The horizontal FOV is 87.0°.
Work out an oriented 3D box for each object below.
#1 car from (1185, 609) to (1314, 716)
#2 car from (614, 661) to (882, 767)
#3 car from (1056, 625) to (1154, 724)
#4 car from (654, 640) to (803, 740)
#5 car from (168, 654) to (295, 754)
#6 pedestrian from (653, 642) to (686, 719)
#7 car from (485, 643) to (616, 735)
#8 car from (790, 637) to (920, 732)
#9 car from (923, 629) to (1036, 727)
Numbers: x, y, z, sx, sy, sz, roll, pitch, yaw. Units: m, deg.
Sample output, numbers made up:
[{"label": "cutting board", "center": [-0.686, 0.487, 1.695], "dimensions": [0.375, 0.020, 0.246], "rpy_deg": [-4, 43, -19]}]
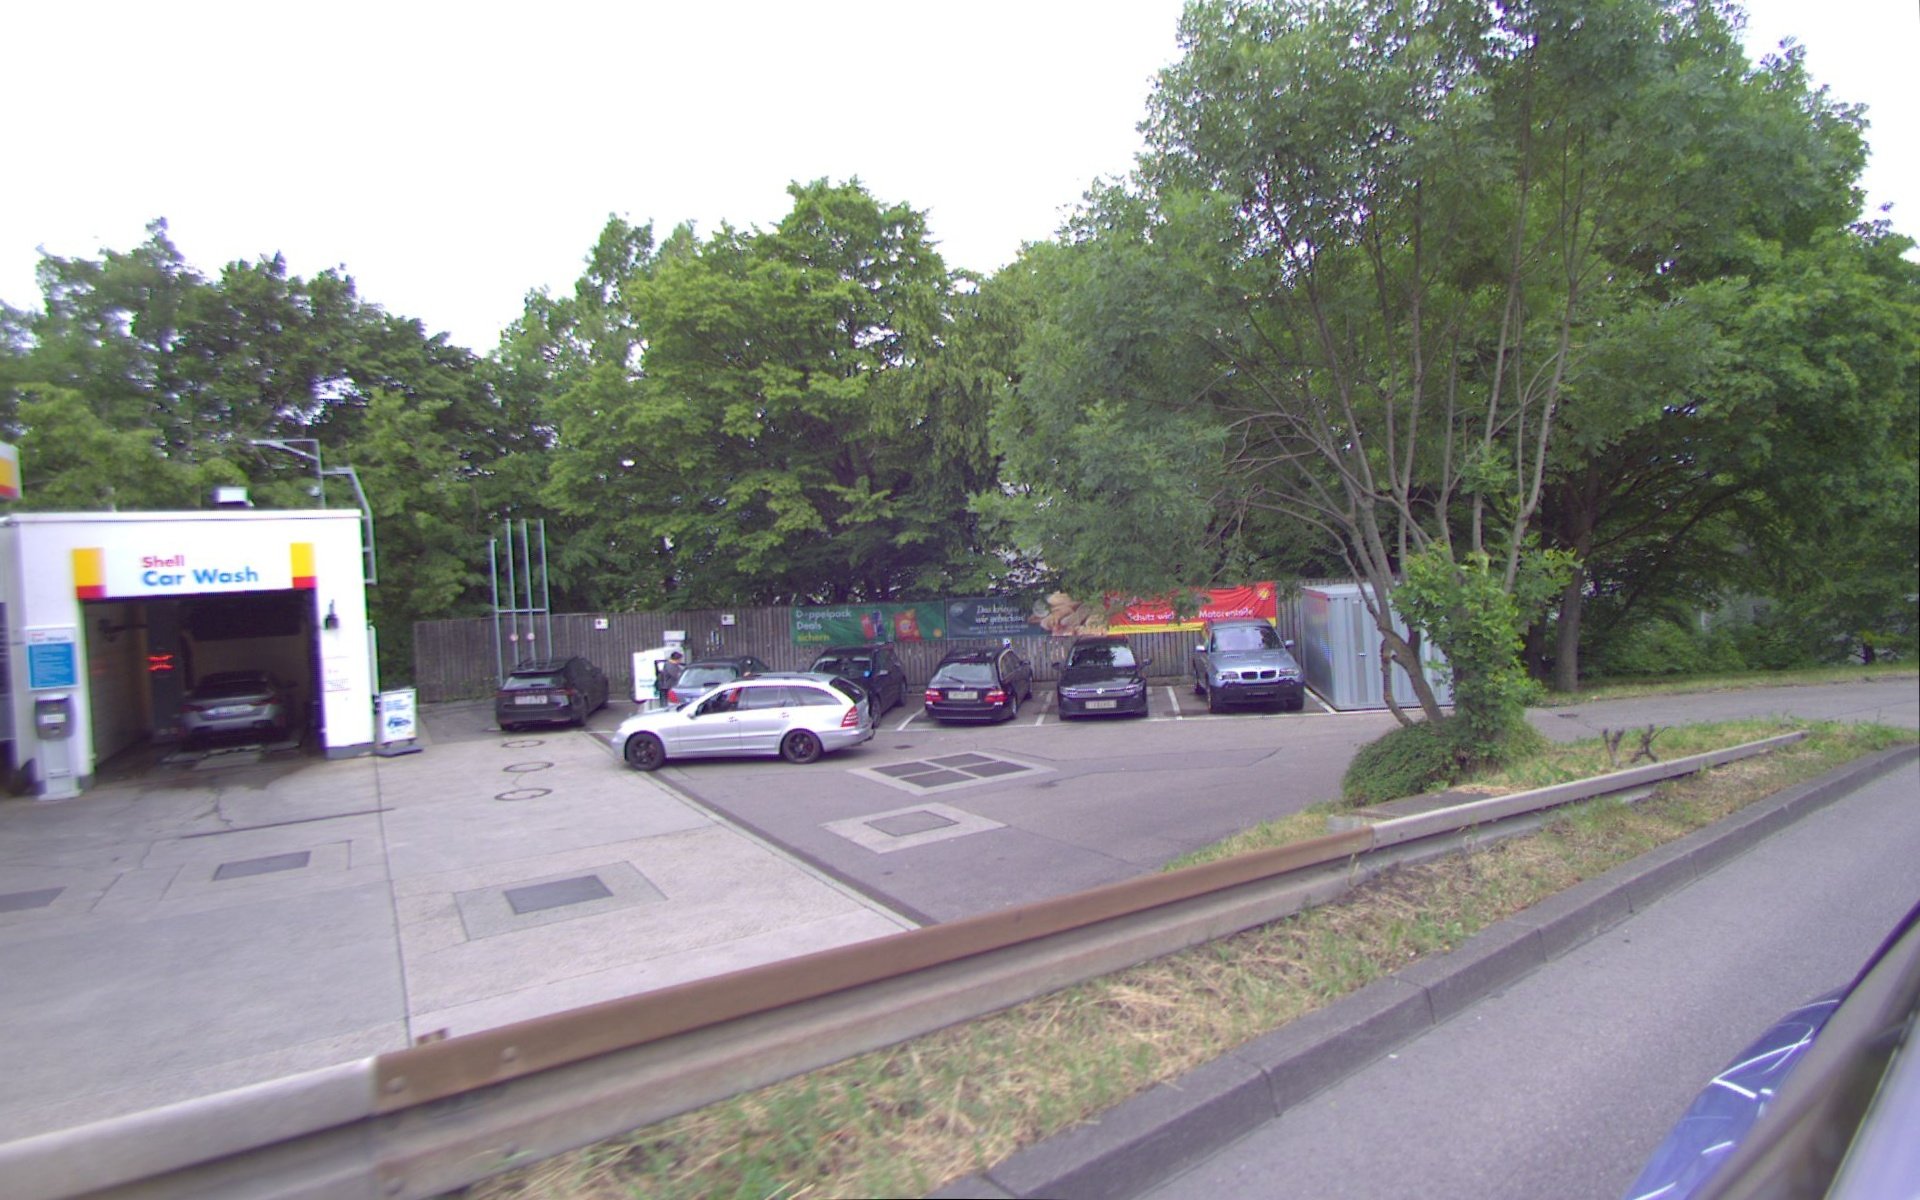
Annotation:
[{"label": "car", "center": [5.766, 1.168, 20.643], "dimensions": [1.705, 1.610, 4.289], "rpy_deg": [-4, 2, 6]}, {"label": "car", "center": [-3.556, 1.933, 17.417], "dimensions": [4.215, 1.449, 1.601], "rpy_deg": [-2, 2, 3]}, {"label": "car", "center": [2.981, 1.439, 20.854], "dimensions": [1.706, 1.444, 4.286], "rpy_deg": [-4, 2, 8]}, {"label": "car", "center": [-4.742, 1.807, 21.348], "dimensions": [1.602, 1.538, 4.091], "rpy_deg": [-1, 3, 9]}, {"label": "car", "center": [-15.179, 2.083, 21.266], "dimensions": [1.707, 1.504, 3.882], "rpy_deg": [-4, 3, -30]}, {"label": "pedestrian", "center": [-6.081, 1.677, 21.193], "dimensions": [0.461, 1.559, 0.430], "rpy_deg": [-4, -3, 7]}, {"label": "car", "center": [-9.014, 1.897, 22.620], "dimensions": [1.688, 1.453, 4.113], "rpy_deg": [-2, 3, -7]}, {"label": "car", "center": [-2.120, 1.709, 21.649], "dimensions": [1.707, 1.453, 4.208], "rpy_deg": [-1, 3, 9]}, {"label": "car", "center": [0.522, 1.556, 21.455], "dimensions": [1.707, 1.453, 4.284], "rpy_deg": [-4, 2, 10]}]
